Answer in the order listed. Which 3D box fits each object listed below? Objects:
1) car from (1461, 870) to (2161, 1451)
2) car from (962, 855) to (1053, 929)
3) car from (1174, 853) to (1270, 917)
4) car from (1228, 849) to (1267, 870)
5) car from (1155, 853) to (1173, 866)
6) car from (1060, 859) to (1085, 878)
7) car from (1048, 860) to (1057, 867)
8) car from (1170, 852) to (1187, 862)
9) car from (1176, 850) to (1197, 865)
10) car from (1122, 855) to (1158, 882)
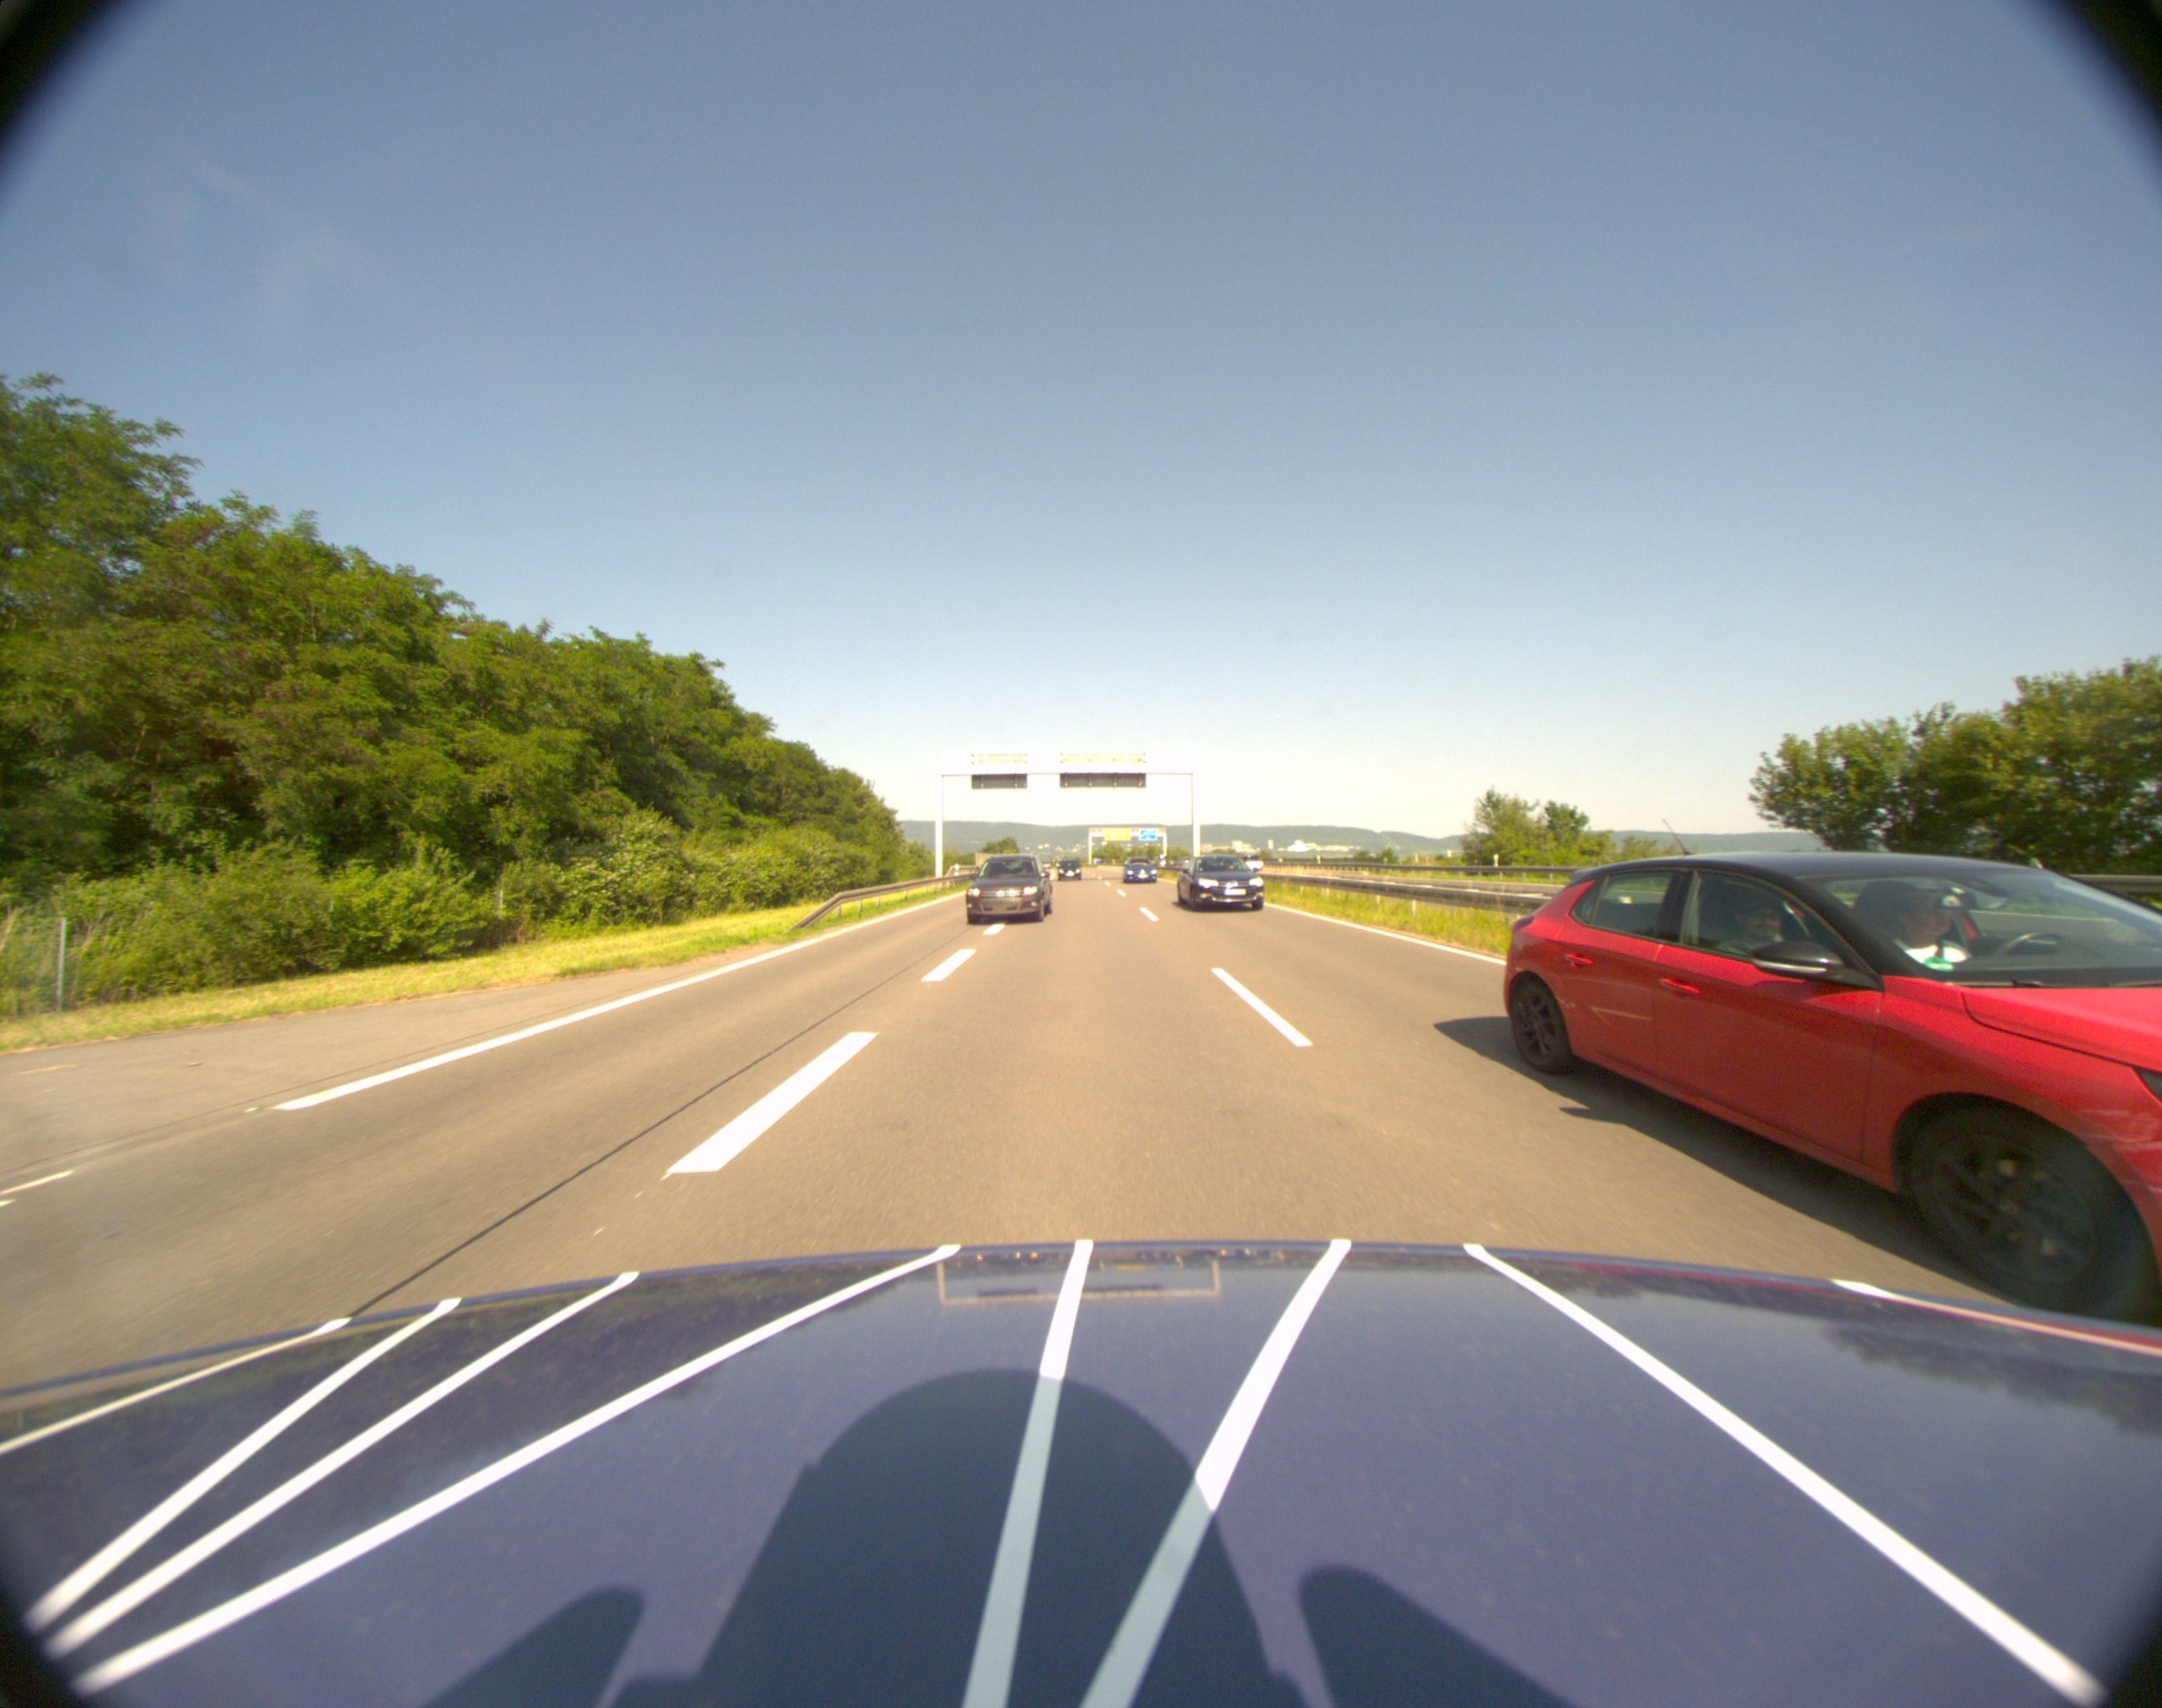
[{"bbox_3d":[3.744,0.863,3.538,1.713,1.428,4.411,-2,0,0],"label":"car"},{"bbox_3d":[-1.759,0.895,19.515,1.790,1.637,4.148,-2,-1,1],"label":"car"},{"bbox_3d":[3.740,0.772,20.859,1.788,1.524,4.375,-2,0,0],"label":"car"},{"bbox_3d":[13.754,0.421,63.021,1.907,1.611,4.627,-2,0,-4],"label":"car"},{"bbox_3d":[12.631,0.901,115.767,1.999,1.894,4.416,-1,0,-3],"label":"car"},{"bbox_3d":[-0.602,1.003,52.643,1.601,1.241,3.999,-2,-1,-2],"label":"car"},{"bbox_3d":[-6.039,2.046,161.779,1.677,1.521,4.000,-2,0,-1],"label":"car"},{"bbox_3d":[12.814,0.415,100.266,1.570,1.262,3.715,-2,-1,-3],"label":"car"},{"bbox_3d":[12.013,0.453,86.914,1.737,1.607,4.002,-2,-1,-1],"label":"car"},{"bbox_3d":[3.308,0.791,43.107,1.652,1.403,3.775,-2,1,-1],"label":"car"}]
